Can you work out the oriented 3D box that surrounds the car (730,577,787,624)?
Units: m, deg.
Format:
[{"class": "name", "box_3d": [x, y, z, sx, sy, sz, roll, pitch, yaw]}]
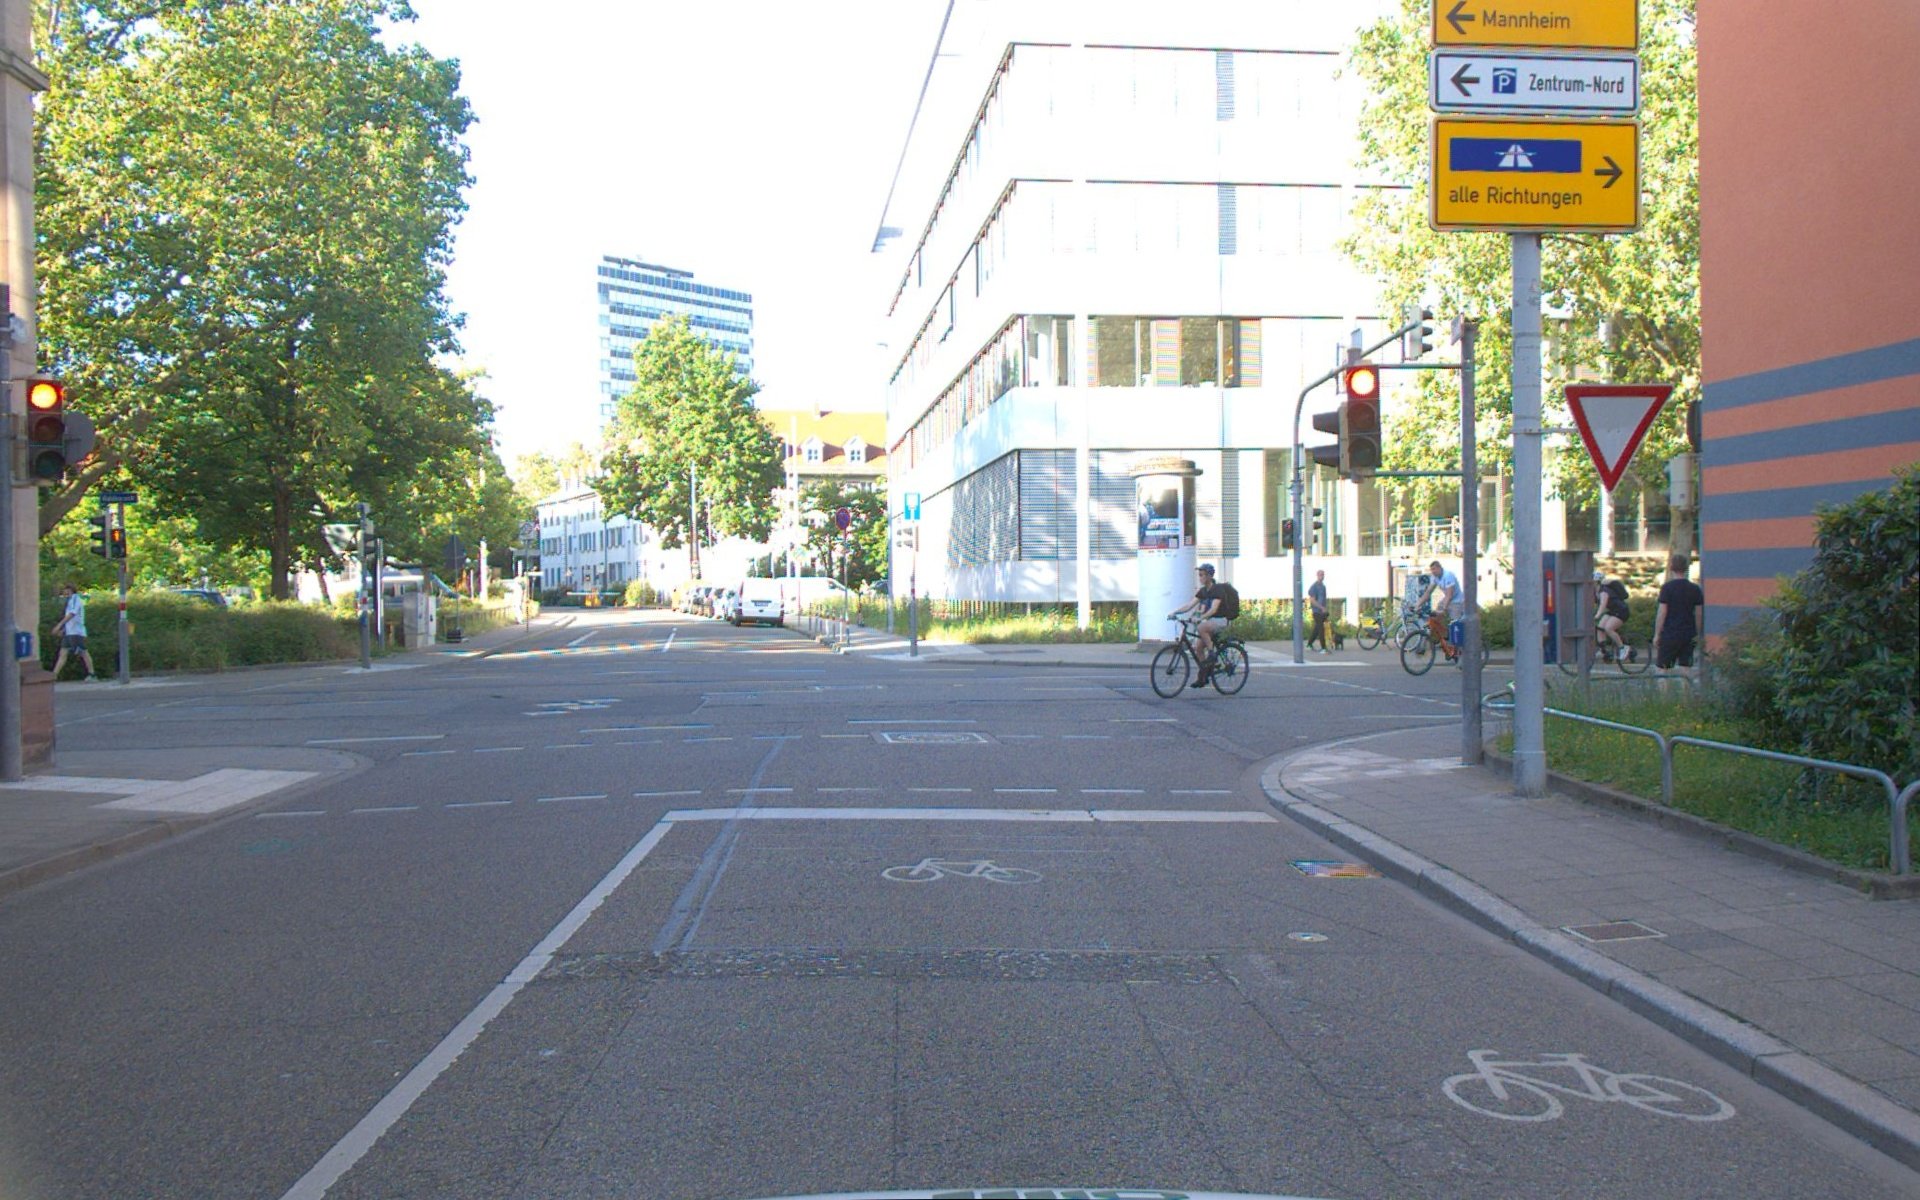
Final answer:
[{"class": "car", "box_3d": [-7.914, 0.015, 64.690, 1.957, 1.755, 4.641, 1, 0, -10]}]

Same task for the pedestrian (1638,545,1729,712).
[{"class": "pedestrian", "box_3d": [8.182, 0.317, 18.705, 0.713, 1.842, 0.691, 1, -1, -42]}]

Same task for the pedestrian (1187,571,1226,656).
[{"class": "pedestrian", "box_3d": [5.163, 0.275, 34.651, 0.748, 1.749, 0.648, 1, -1, 12]}]

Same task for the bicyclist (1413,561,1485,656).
[{"class": "bicyclist", "box_3d": [8.107, 0.132, 27.435, 0.904, 1.549, 0.698, -1, 0, -26]}]

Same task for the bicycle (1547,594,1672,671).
[{"class": "bicycle", "box_3d": [10.292, 0.511, 26.238, 1.743, 1.172, 0.627, -1, 0, -4]}]

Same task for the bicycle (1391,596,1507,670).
[{"class": "bicycle", "box_3d": [8.117, 0.534, 27.426, 1.940, 1.172, 0.622, -1, 0, -27]}]

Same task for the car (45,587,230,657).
[{"class": "car", "box_3d": [-18.365, 0.490, 37.052, 3.347, 1.483, 1.646, 1, 0, -11]}]

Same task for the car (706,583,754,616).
[{"class": "car", "box_3d": [-11.305, -0.008, 81.071, 1.959, 1.525, 4.272, 1, 0, -13]}]

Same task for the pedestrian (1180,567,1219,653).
[{"class": "pedestrian", "box_3d": [5.141, 0.214, 35.499, 0.748, 1.826, 0.648, 1, -1, 12]}]

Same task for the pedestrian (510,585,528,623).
[{"class": "pedestrian", "box_3d": [-18.709, 0.175, 70.206, 0.688, 1.614, 0.634, 1, -1, -16]}]

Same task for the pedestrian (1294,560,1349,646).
[{"class": "pedestrian", "box_3d": [7.900, 0.071, 36.178, 0.756, 1.847, 0.903, 1, -1, -43]}]

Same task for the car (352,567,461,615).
[{"class": "car", "box_3d": [-24.960, -0.381, 74.670, 4.363, 2.049, 1.995, 1, 0, -10]}]

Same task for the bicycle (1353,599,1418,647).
[{"class": "bicycle", "box_3d": [9.324, 0.501, 36.269, 0.376, 1.026, 1.410, -1, 0, -42]}]

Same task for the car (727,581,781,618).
[{"class": "car", "box_3d": [-8.866, -0.019, 70.889, 1.958, 1.525, 4.639, 1, 0, -11]}]

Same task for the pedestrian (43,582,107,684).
[{"class": "pedestrian", "box_3d": [-16.797, 0.627, 31.392, 0.908, 1.901, 0.732, 1, -1, -41]}]

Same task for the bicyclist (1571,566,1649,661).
[{"class": "bicyclist", "box_3d": [10.302, 0.203, 26.230, 0.952, 1.471, 0.627, -1, 0, -4]}]

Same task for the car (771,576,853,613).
[{"class": "car", "box_3d": [-9.197, -0.350, 102.785, 4.718, 2.196, 1.990, 1, 0, -18]}]

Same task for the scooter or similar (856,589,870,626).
[{"class": "scooter or similar", "box_3d": [-3.426, 0.265, 58.223, 0.429, 1.278, 1.418, -1, 0, -5]}]

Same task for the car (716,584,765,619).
[{"class": "car", "box_3d": [-10.192, 0.060, 76.640, 1.958, 1.525, 4.639, 1, 0, -11]}]

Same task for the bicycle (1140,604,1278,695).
[{"class": "bicycle", "box_3d": [3.407, 0.654, 22.564, 1.944, 1.172, 0.586, -1, 0, -32]}]

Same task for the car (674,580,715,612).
[{"class": "car", "box_3d": [-15.380, -0.209, 95.592, 1.960, 1.755, 4.635, 1, 0, -14]}]

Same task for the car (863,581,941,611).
[{"class": "car", "box_3d": [-3.671, -0.237, 104.710, 4.563, 1.755, 1.991, 1, 0, -17]}]

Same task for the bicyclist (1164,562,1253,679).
[{"class": "bicyclist", "box_3d": [3.395, 0.269, 22.570, 1.065, 1.554, 0.586, -1, 0, -32]}]

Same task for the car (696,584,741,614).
[{"class": "car", "box_3d": [-12.548, -0.049, 85.777, 1.959, 1.525, 4.637, 1, 0, -13]}]
